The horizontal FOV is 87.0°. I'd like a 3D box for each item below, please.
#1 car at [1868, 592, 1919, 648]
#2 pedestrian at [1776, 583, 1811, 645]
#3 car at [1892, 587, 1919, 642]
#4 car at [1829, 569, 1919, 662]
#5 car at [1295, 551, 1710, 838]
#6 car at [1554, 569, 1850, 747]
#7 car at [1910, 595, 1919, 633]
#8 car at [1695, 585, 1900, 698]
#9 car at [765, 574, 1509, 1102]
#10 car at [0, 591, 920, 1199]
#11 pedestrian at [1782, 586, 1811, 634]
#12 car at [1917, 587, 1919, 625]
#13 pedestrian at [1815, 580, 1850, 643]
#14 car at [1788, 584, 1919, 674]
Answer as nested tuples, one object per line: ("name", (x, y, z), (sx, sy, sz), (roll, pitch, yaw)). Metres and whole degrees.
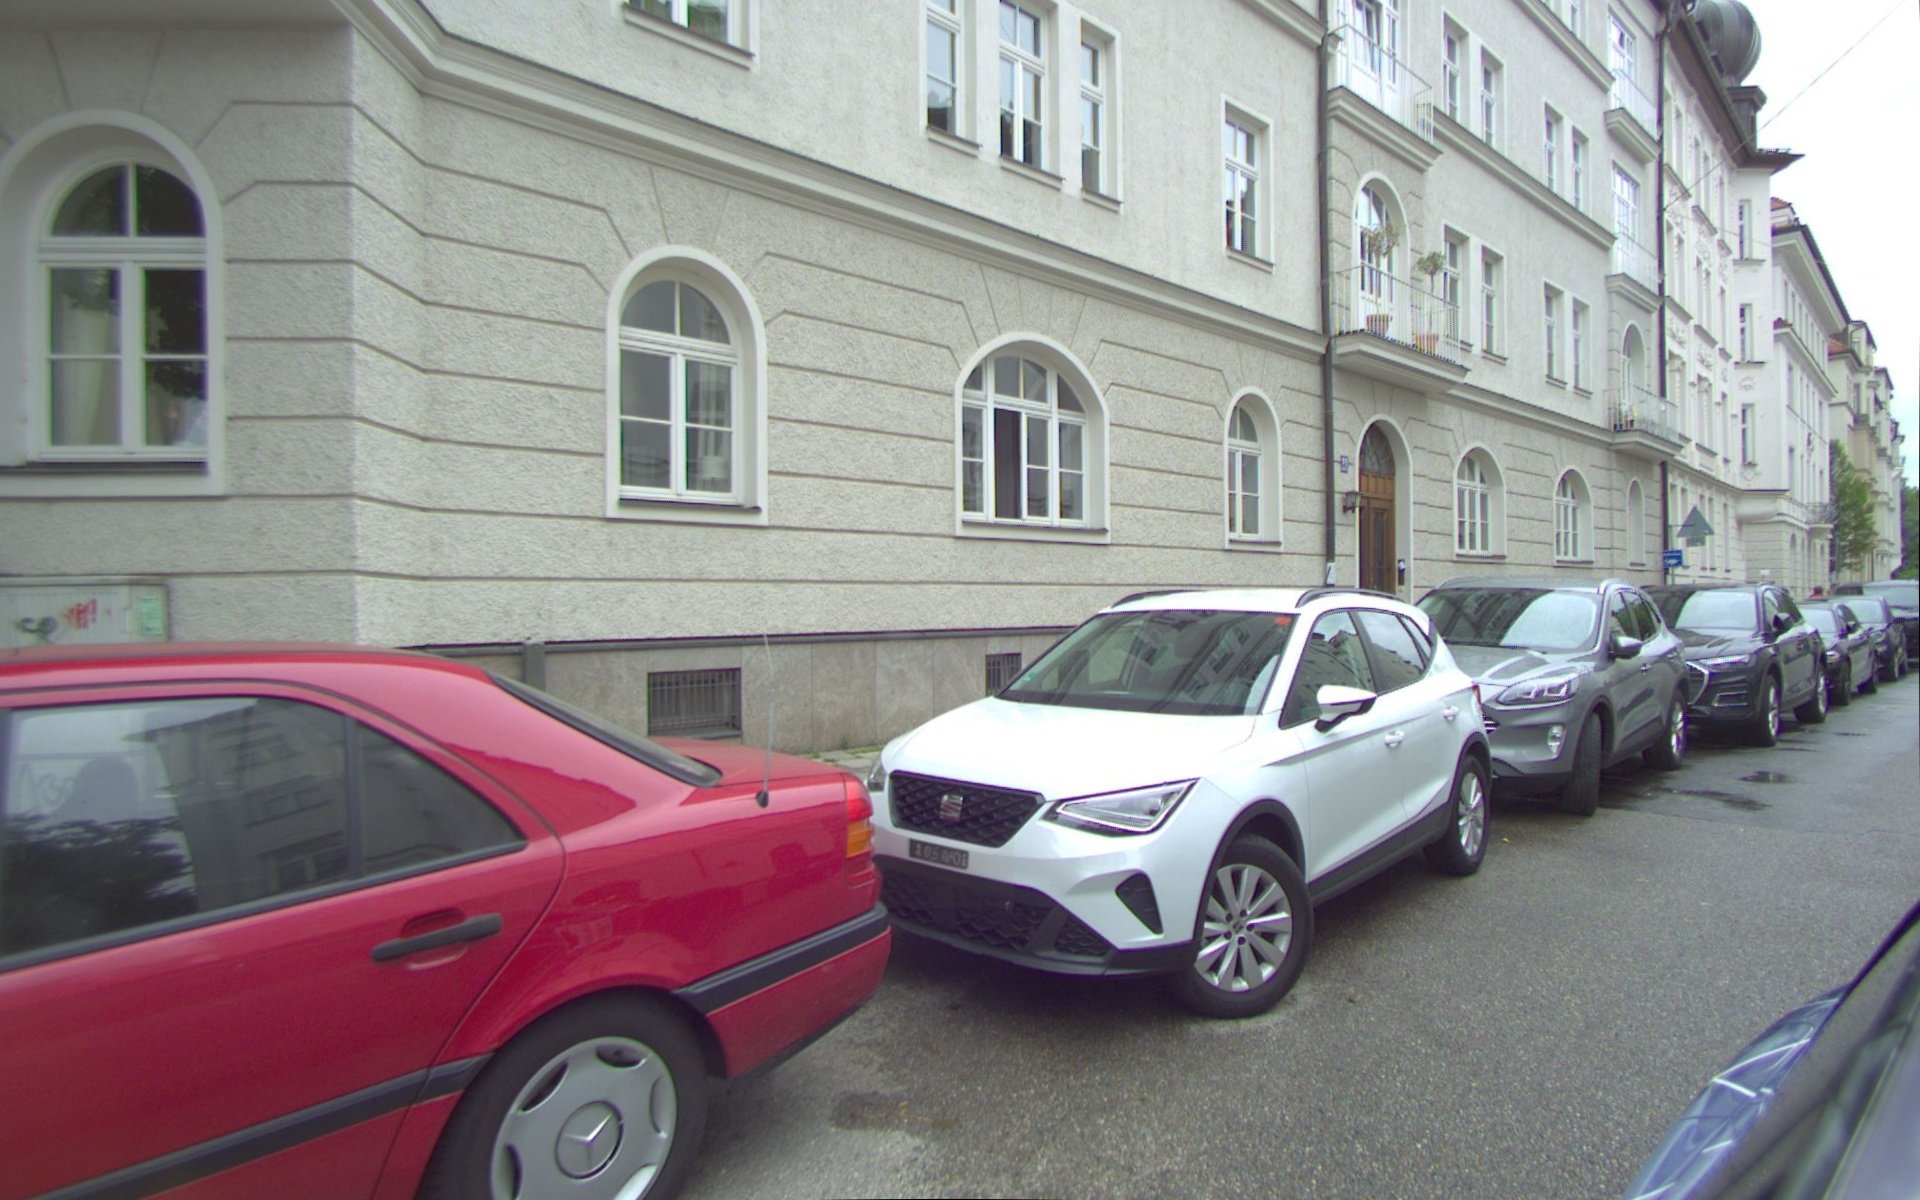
("car", (25.340, 0.495, 26.699), (3.520, 1.413, 1.666), (-1, -2, -42))
("pedestrian", (23.630, 0.384, 28.687), (0.680, 1.695, 0.644), (2, 2, 44))
("car", (29.334, 0.409, 30.482), (1.707, 1.608, 3.936), (-3, -2, 44))
("car", (21.074, 0.314, 22.684), (4.636, 1.909, 1.912), (0, -2, -44))
("car", (4.628, 0.553, 8.304), (4.353, 1.735, 1.791), (0, 0, -44))
("car", (8.539, 0.548, 11.507), (4.298, 1.657, 1.780), (0, -1, -41))
("car", (37.340, 0.488, 38.476), (3.935, 1.413, 1.613), (0, -1, -45))
("car", (12.737, 0.542, 15.308), (4.127, 1.489, 1.710), (0, 0, -40))
("car", (1.154, 0.672, 4.927), (1.750, 1.515, 3.849), (-1, 0, 43))
("car", (-2.179, 0.725, 1.975), (4.143, 1.453, 1.670), (0, -1, -44))
("pedestrian", (30.454, 0.349, 36.842), (0.799, 1.700, 0.683), (1, 1, -45))
("car", (44.158, 0.297, 45.139), (4.317, 1.657, 1.897), (1, -1, -43))
("pedestrian", (24.676, 0.318, 28.626), (0.703, 1.750, 0.692), (1, 0, 44))
("car", (17.099, 0.500, 19.230), (3.576, 1.545, 1.656), (0, -1, -43))
